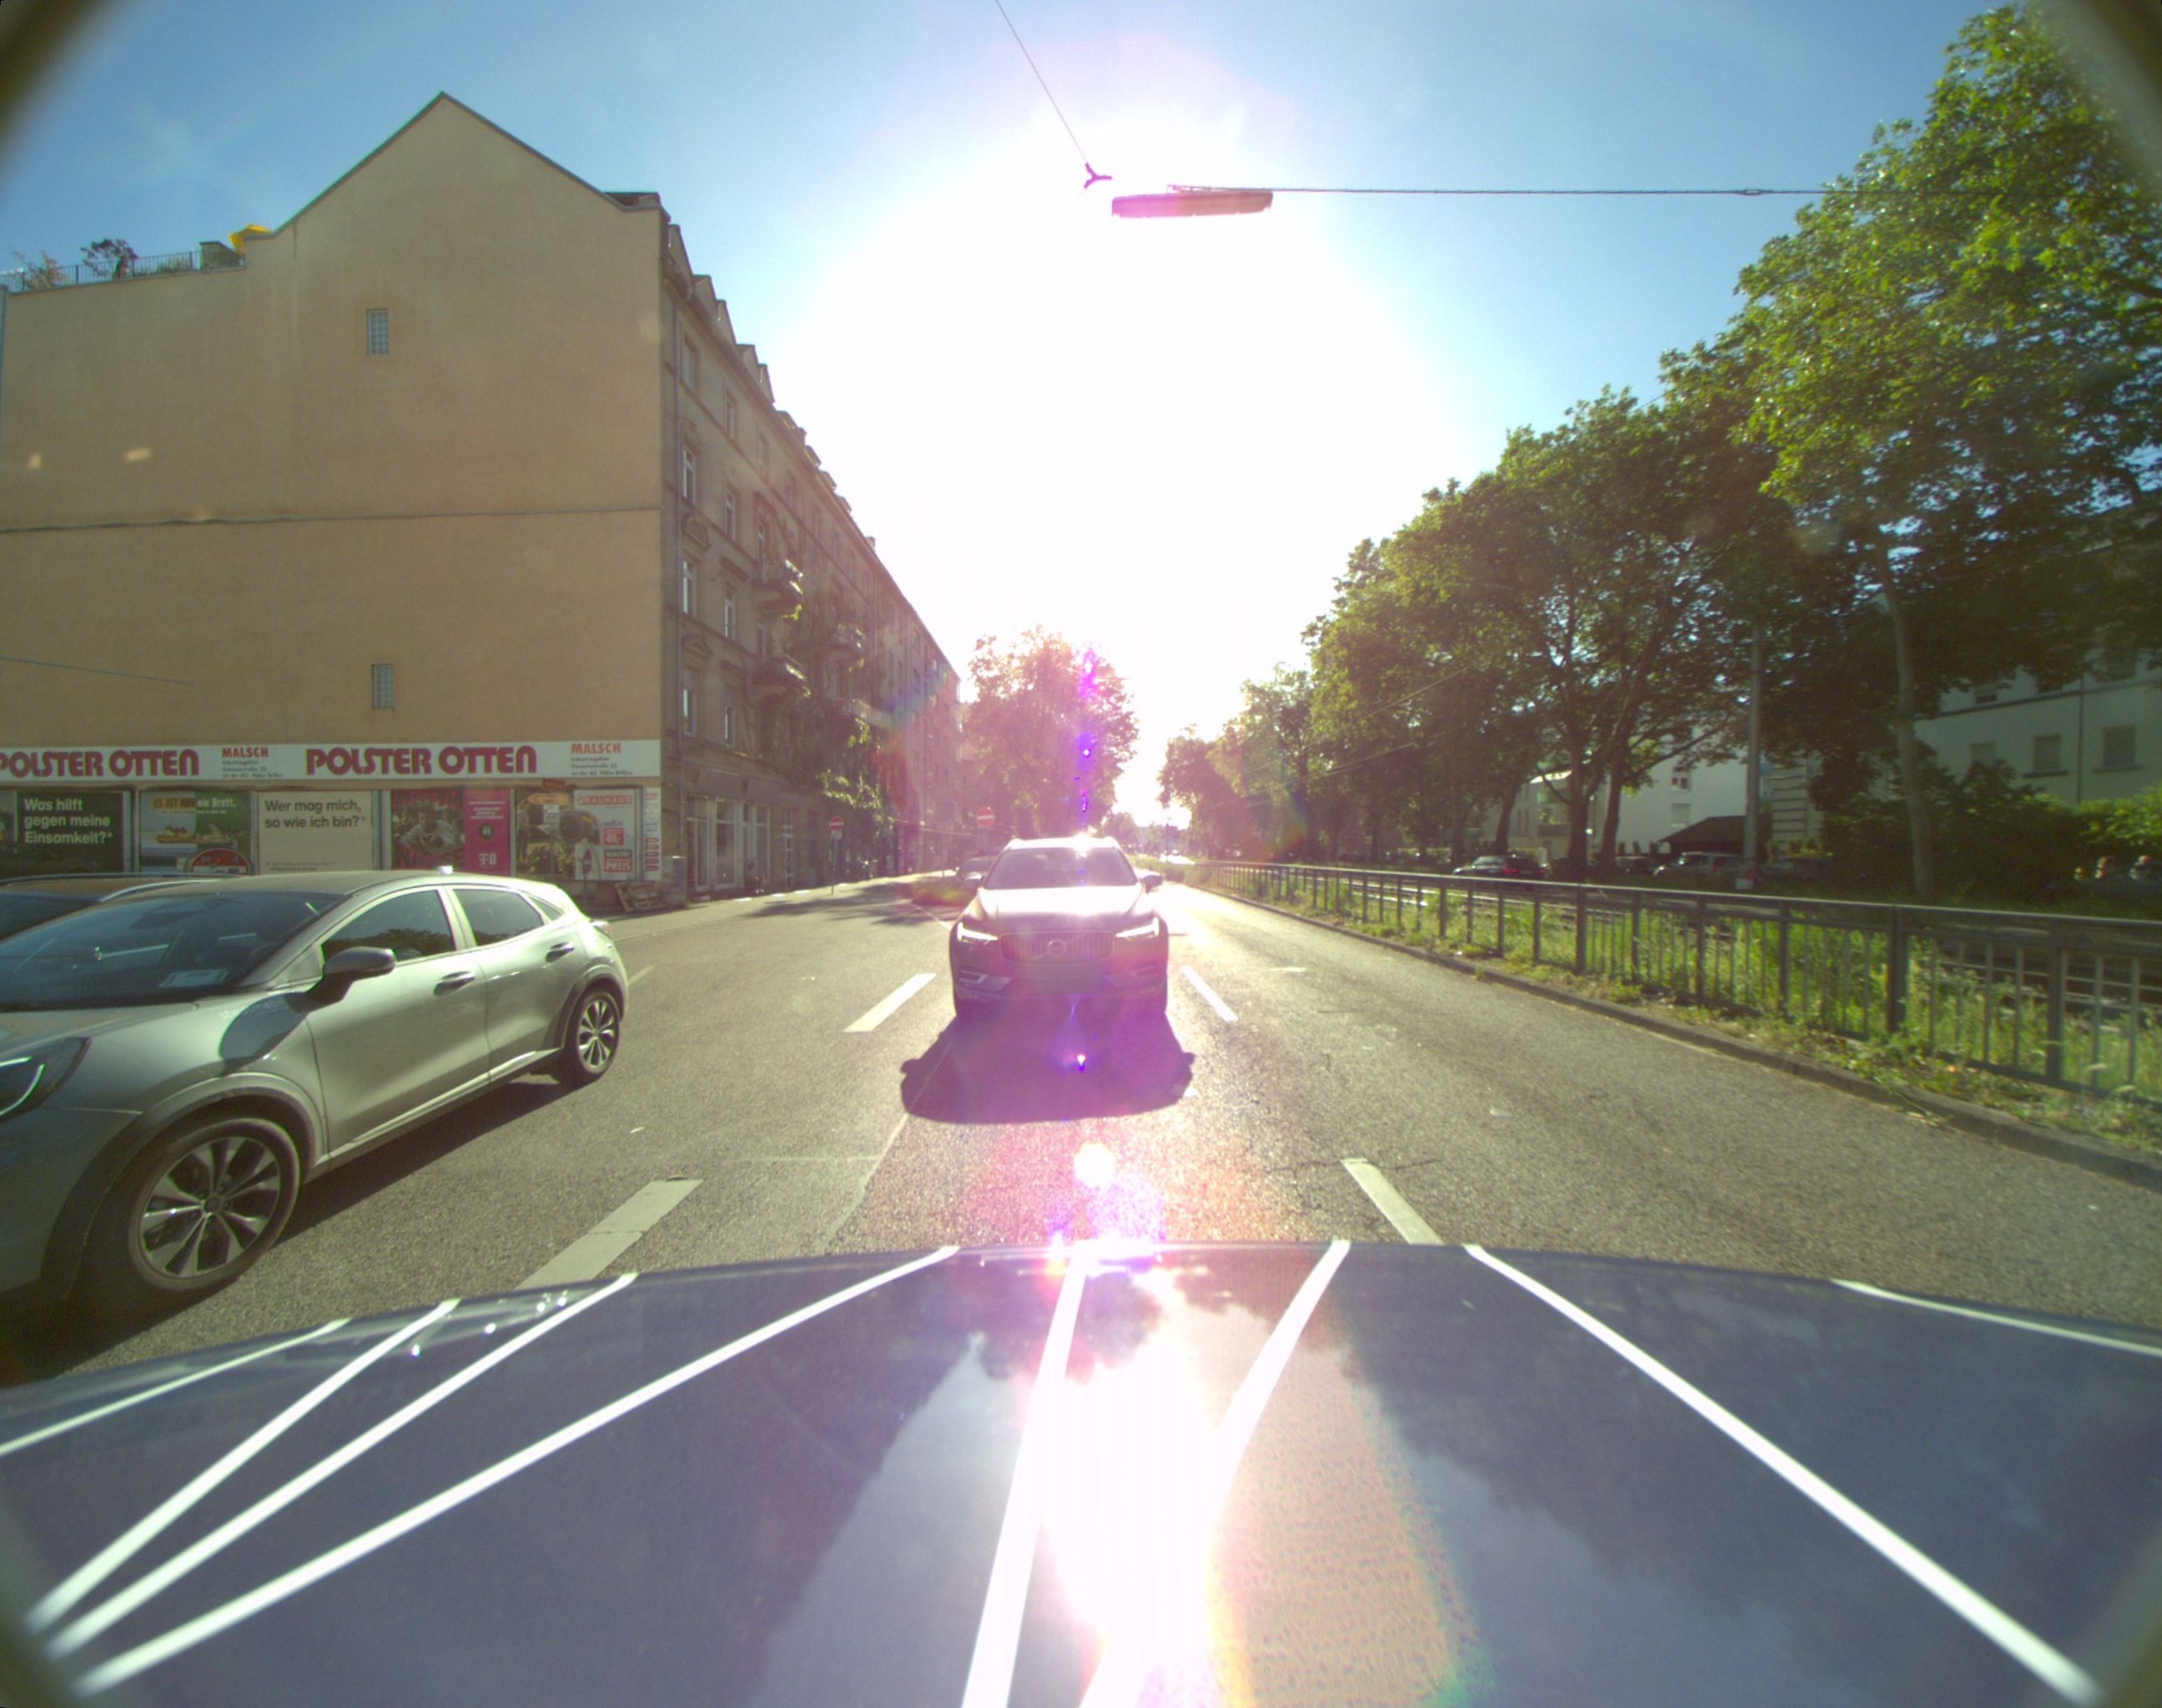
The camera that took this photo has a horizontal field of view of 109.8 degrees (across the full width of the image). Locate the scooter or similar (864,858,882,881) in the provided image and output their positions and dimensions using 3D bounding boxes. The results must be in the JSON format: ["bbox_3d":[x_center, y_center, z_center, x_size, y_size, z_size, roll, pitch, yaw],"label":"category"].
[{"bbox_3d":[-11.068,0.800,40.401,0.638,1.167,1.730,0,1,-24],"label":"scooter or similar"}]

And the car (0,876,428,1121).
[{"bbox_3d":[-8.225,1.036,6.063,1.837,1.478,4.734,2,1,1],"label":"car"}]

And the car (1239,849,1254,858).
[{"bbox_3d":[27.809,-0.156,128.104,1.771,1.477,3.688,0,1,1],"label":"car"}]

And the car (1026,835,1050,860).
[{"bbox_3d":[-4.446,-0.688,79.136,2.079,2.420,5.856,-1,1,1],"label":"car"}]

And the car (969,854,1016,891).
[{"bbox_3d":[-4.052,0.793,35.397,1.743,1.509,3.999,-3,1,-1],"label":"car"}]

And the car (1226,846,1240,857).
[{"bbox_3d":[27.792,-0.453,138.930,1.998,2.002,4.001,-1,0,5],"label":"car"}]

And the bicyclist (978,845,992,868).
[{"bbox_3d":[-6.188,0.171,49.184,0.746,1.453,0.951,-1,2,2],"label":"bicyclist"}]

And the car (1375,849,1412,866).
[{"bbox_3d":[28.543,0.277,69.606,1.801,1.464,4.000,0,1,1],"label":"car"}]

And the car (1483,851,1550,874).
[{"bbox_3d":[28.854,0.551,50.532,1.998,1.444,4.318,0,1,1],"label":"car"}]

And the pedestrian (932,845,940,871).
[{"bbox_3d":[-10.365,0.263,54.326,0.470,1.822,0.516,0,1,1],"label":"pedestrian"}]

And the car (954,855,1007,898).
[{"bbox_3d":[-4.023,0.852,30.947,1.645,1.509,3.999,-3,1,-1],"label":"car"}]

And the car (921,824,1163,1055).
[{"bbox_3d":[-0.249,0.658,8.271,1.876,1.788,4.632,-1,0,1],"label":"car"}]

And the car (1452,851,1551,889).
[{"bbox_3d":[17.739,0.627,32.319,1.688,1.490,4.342,0,0,-2],"label":"car"}]

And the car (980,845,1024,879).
[{"bbox_3d":[-4.150,0.393,40.621,1.869,1.753,4.000,0,1,1],"label":"car"}]

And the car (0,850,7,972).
[{"bbox_3d":[-15.215,0.783,8.154,1.749,1.635,3.998,0,1,-3],"label":"car"}]

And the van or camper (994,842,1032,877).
[{"bbox_3d":[-4.054,0.318,46.145,1.889,2.002,5.094,0,1,0],"label":"van or camper"}]

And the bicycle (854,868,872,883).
[{"bbox_3d":[-11.044,1.070,38.565,0.469,0.702,1.512,0,0,1],"label":"bicycle"}]

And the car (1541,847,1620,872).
[{"bbox_3d":[28.763,0.267,43.937,1.644,1.316,4.460,2,1,1],"label":"car"}]

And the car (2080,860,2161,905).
[{"bbox_3d":[28.356,0.736,19.378,1.476,1.110,3.217,0,0,-2],"label":"car"}]

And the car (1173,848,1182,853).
[{"bbox_3d":[27.433,-0.996,216.166,1.862,1.638,4.459,0,1,-1],"label":"car"}]

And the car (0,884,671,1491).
[{"bbox_3d":[-4.099,1.042,4.087,1.702,1.519,4.378,-1,1,-5],"label":"car"}]

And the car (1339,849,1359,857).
[{"bbox_3d":[28.000,-0.094,79.482,1.109,0.871,3.060,0,0,1],"label":"car"}]

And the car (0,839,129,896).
[{"bbox_3d":[-28.695,0.349,20.350,1.679,1.455,3.644,0,2,3],"label":"car"}]

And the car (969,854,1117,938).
[{"bbox_3d":[-0.664,0.793,16.015,1.605,1.446,3.786,-1,1,22],"label":"car"}]

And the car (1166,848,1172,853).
[{"bbox_3d":[29.534,-1.276,255.439,1.998,1.697,4.000,0,0,3],"label":"car"}]
